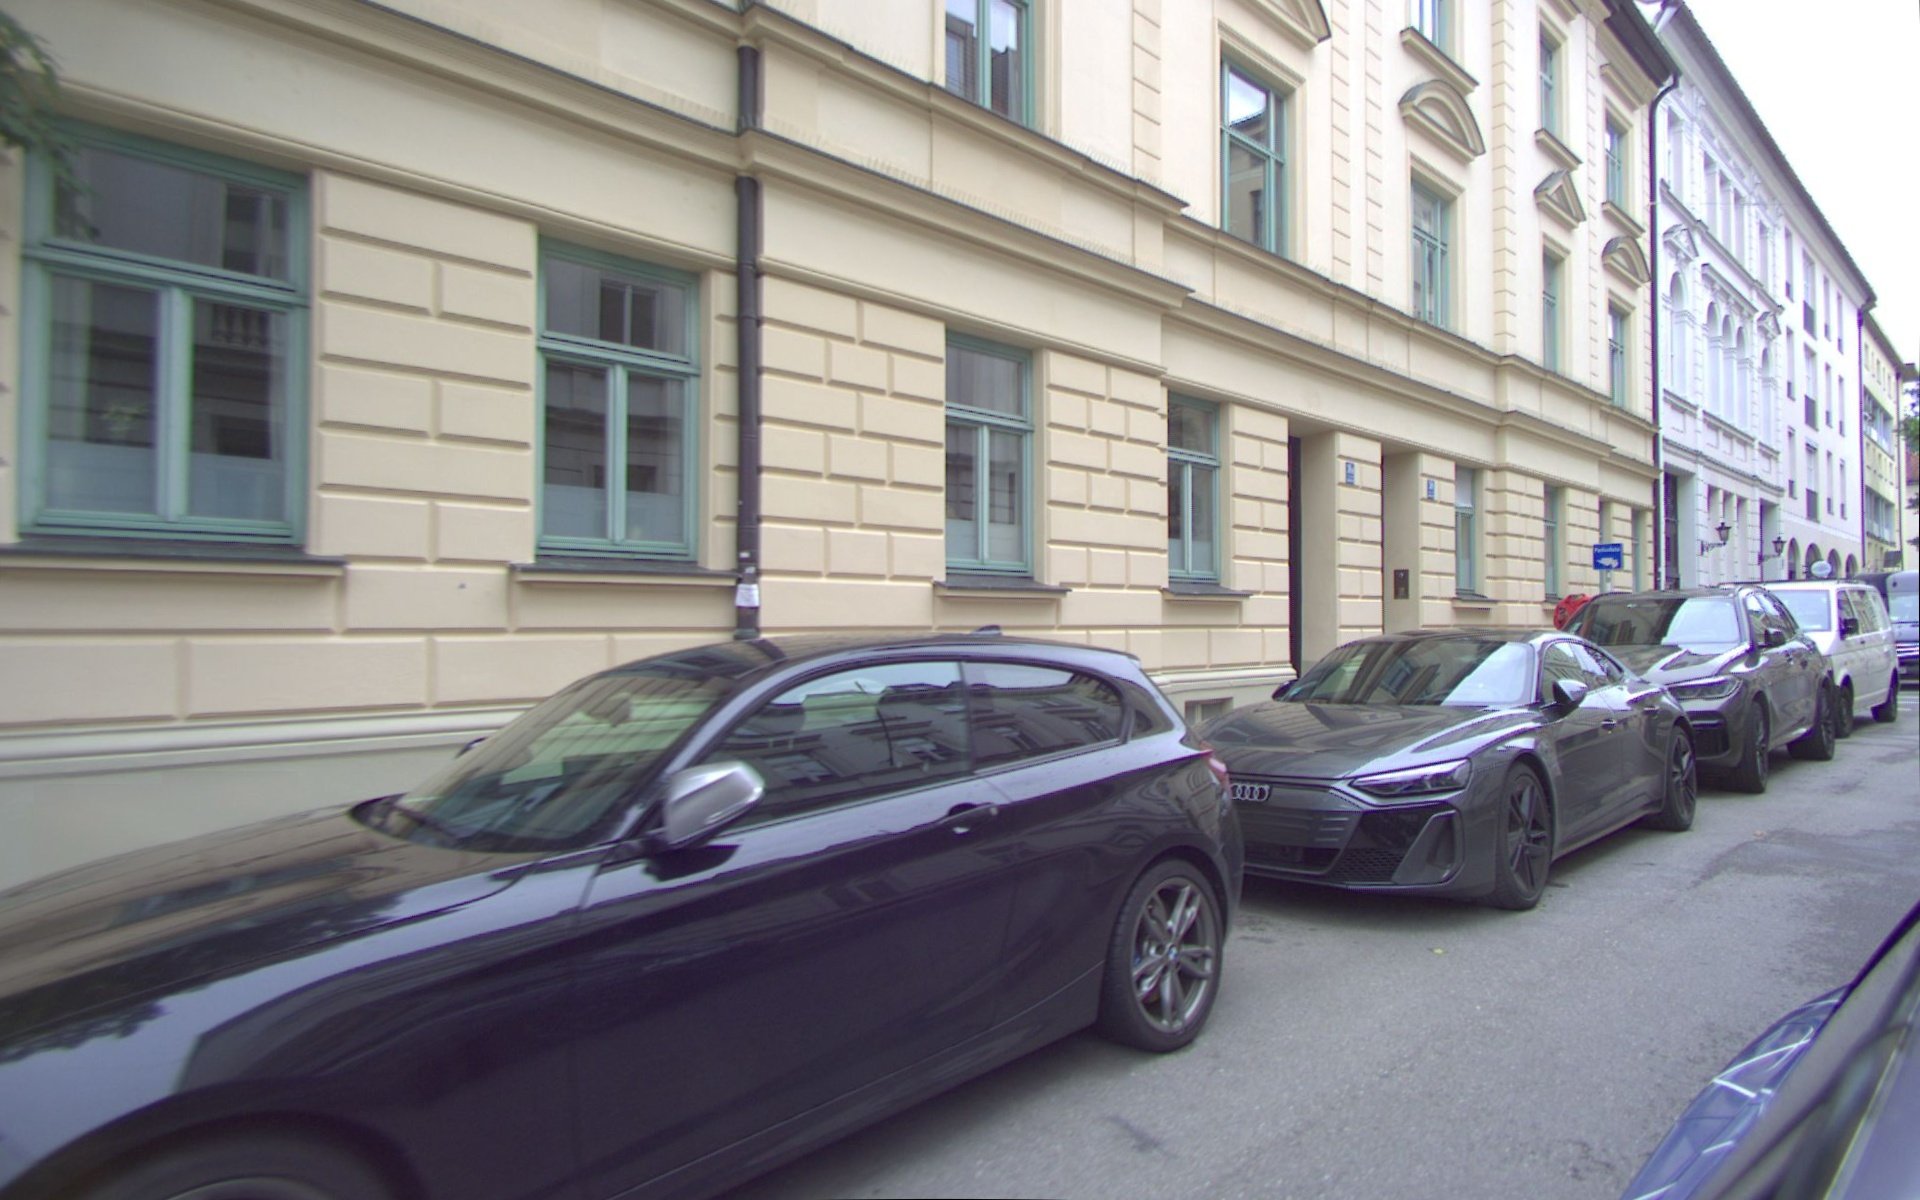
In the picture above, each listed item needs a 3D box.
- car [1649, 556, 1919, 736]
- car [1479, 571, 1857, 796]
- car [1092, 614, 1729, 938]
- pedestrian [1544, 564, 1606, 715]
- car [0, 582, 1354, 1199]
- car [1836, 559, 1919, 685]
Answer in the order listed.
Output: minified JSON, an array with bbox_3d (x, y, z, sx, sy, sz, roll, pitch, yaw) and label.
[{"bbox_3d":[11.456,0.544,13.865,4.971,2.039,1.998,1,-1,-39],"label":"car"},{"bbox_3d":[7.056,0.648,9.904,4.430,1.708,1.997,1,-1,-40],"label":"car"},{"bbox_3d":[3.108,0.765,6.482,4.512,1.330,1.997,1,-1,-41],"label":"car"},{"bbox_3d":[8.411,0.531,13.844,0.448,2.003,0.580,1,-2,-41],"label":"pedestrian"},{"bbox_3d":[-0.665,0.715,3.317,4.433,1.392,1.856,0,-3,-43],"label":"car"},{"bbox_3d":[21.211,0.471,22.273,4.999,2.527,2.012,1,-5,-40],"label":"car"}]
